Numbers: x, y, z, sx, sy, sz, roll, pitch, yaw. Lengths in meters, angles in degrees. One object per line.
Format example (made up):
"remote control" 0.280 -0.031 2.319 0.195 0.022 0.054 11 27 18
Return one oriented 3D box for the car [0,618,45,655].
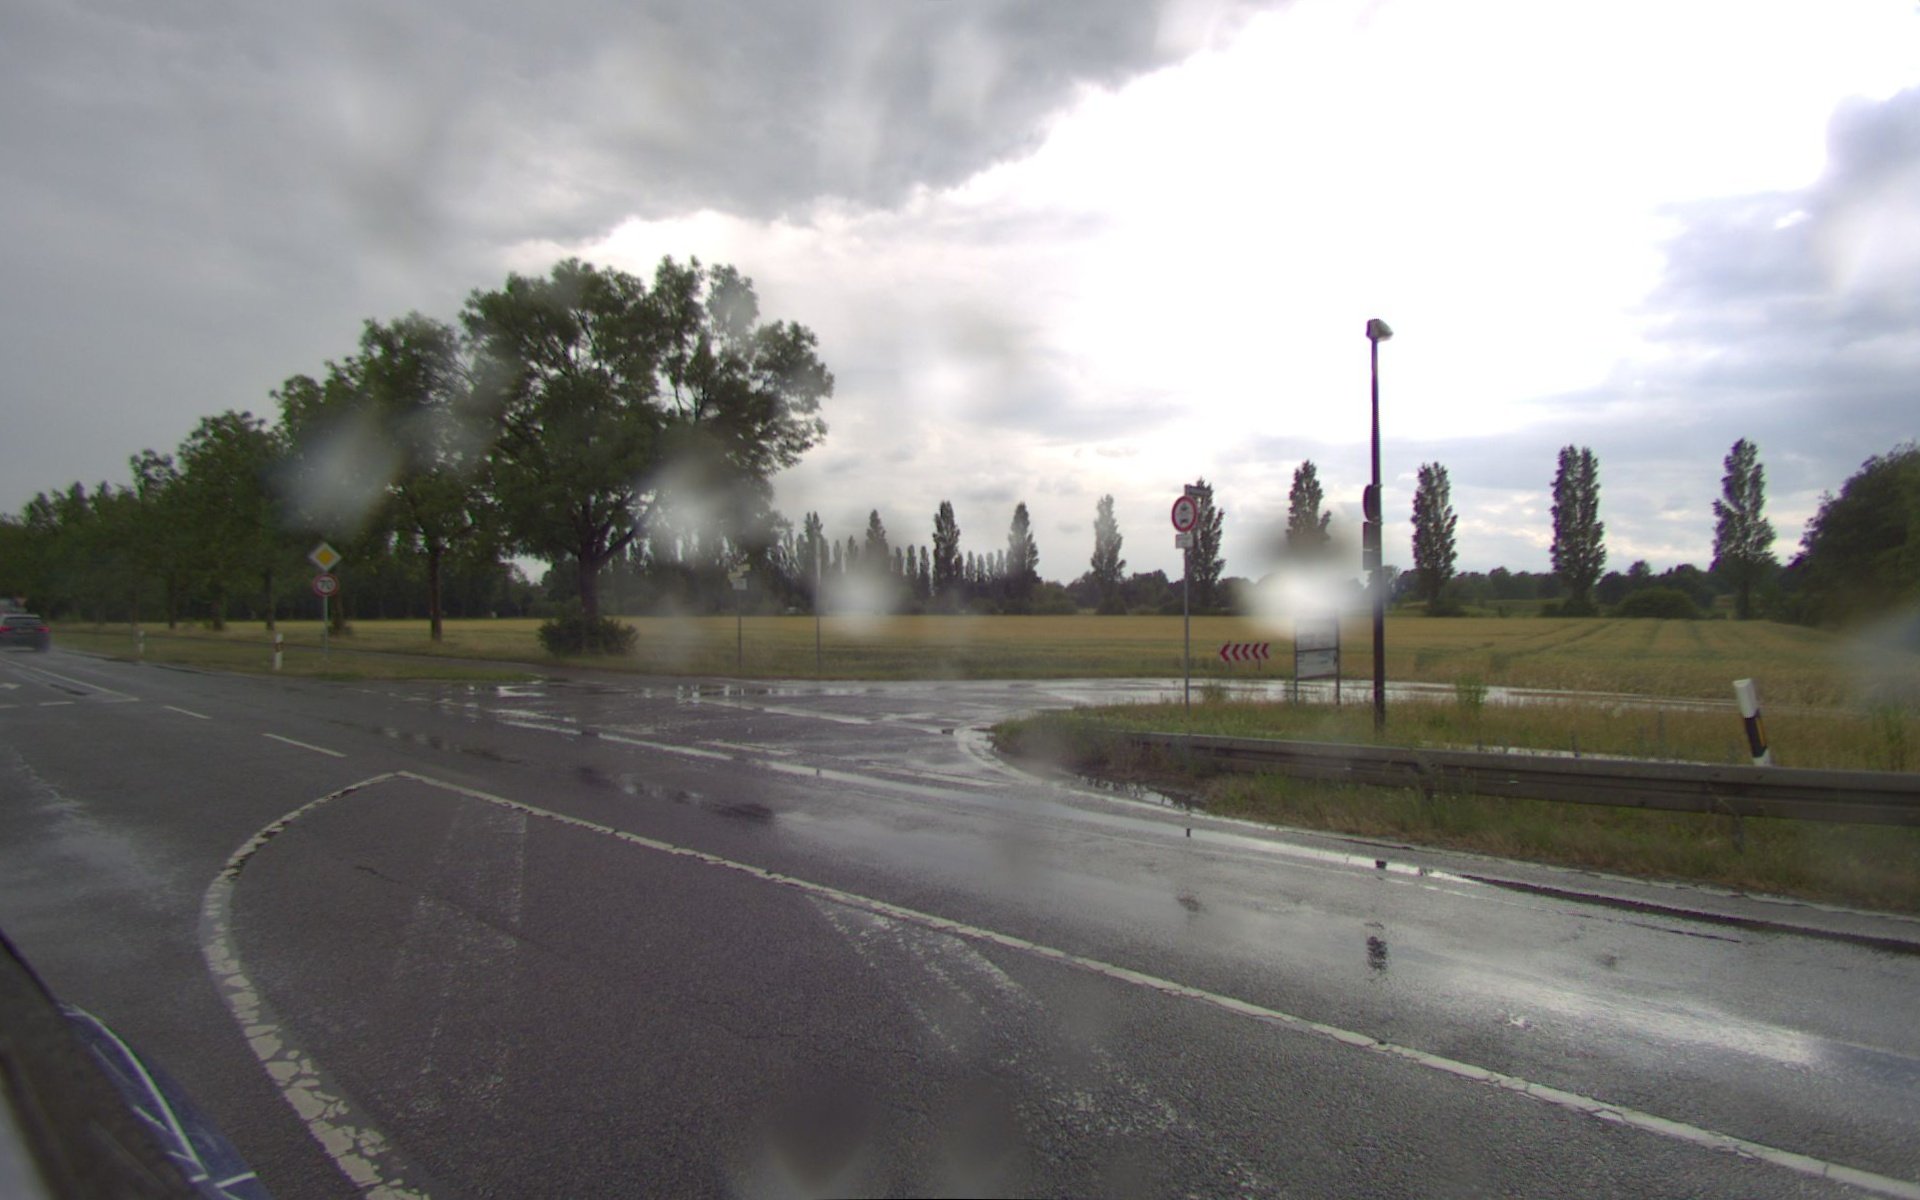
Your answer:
"car" -40.537 1.541 43.212 4.140 1.535 1.750 -1 -3 42
